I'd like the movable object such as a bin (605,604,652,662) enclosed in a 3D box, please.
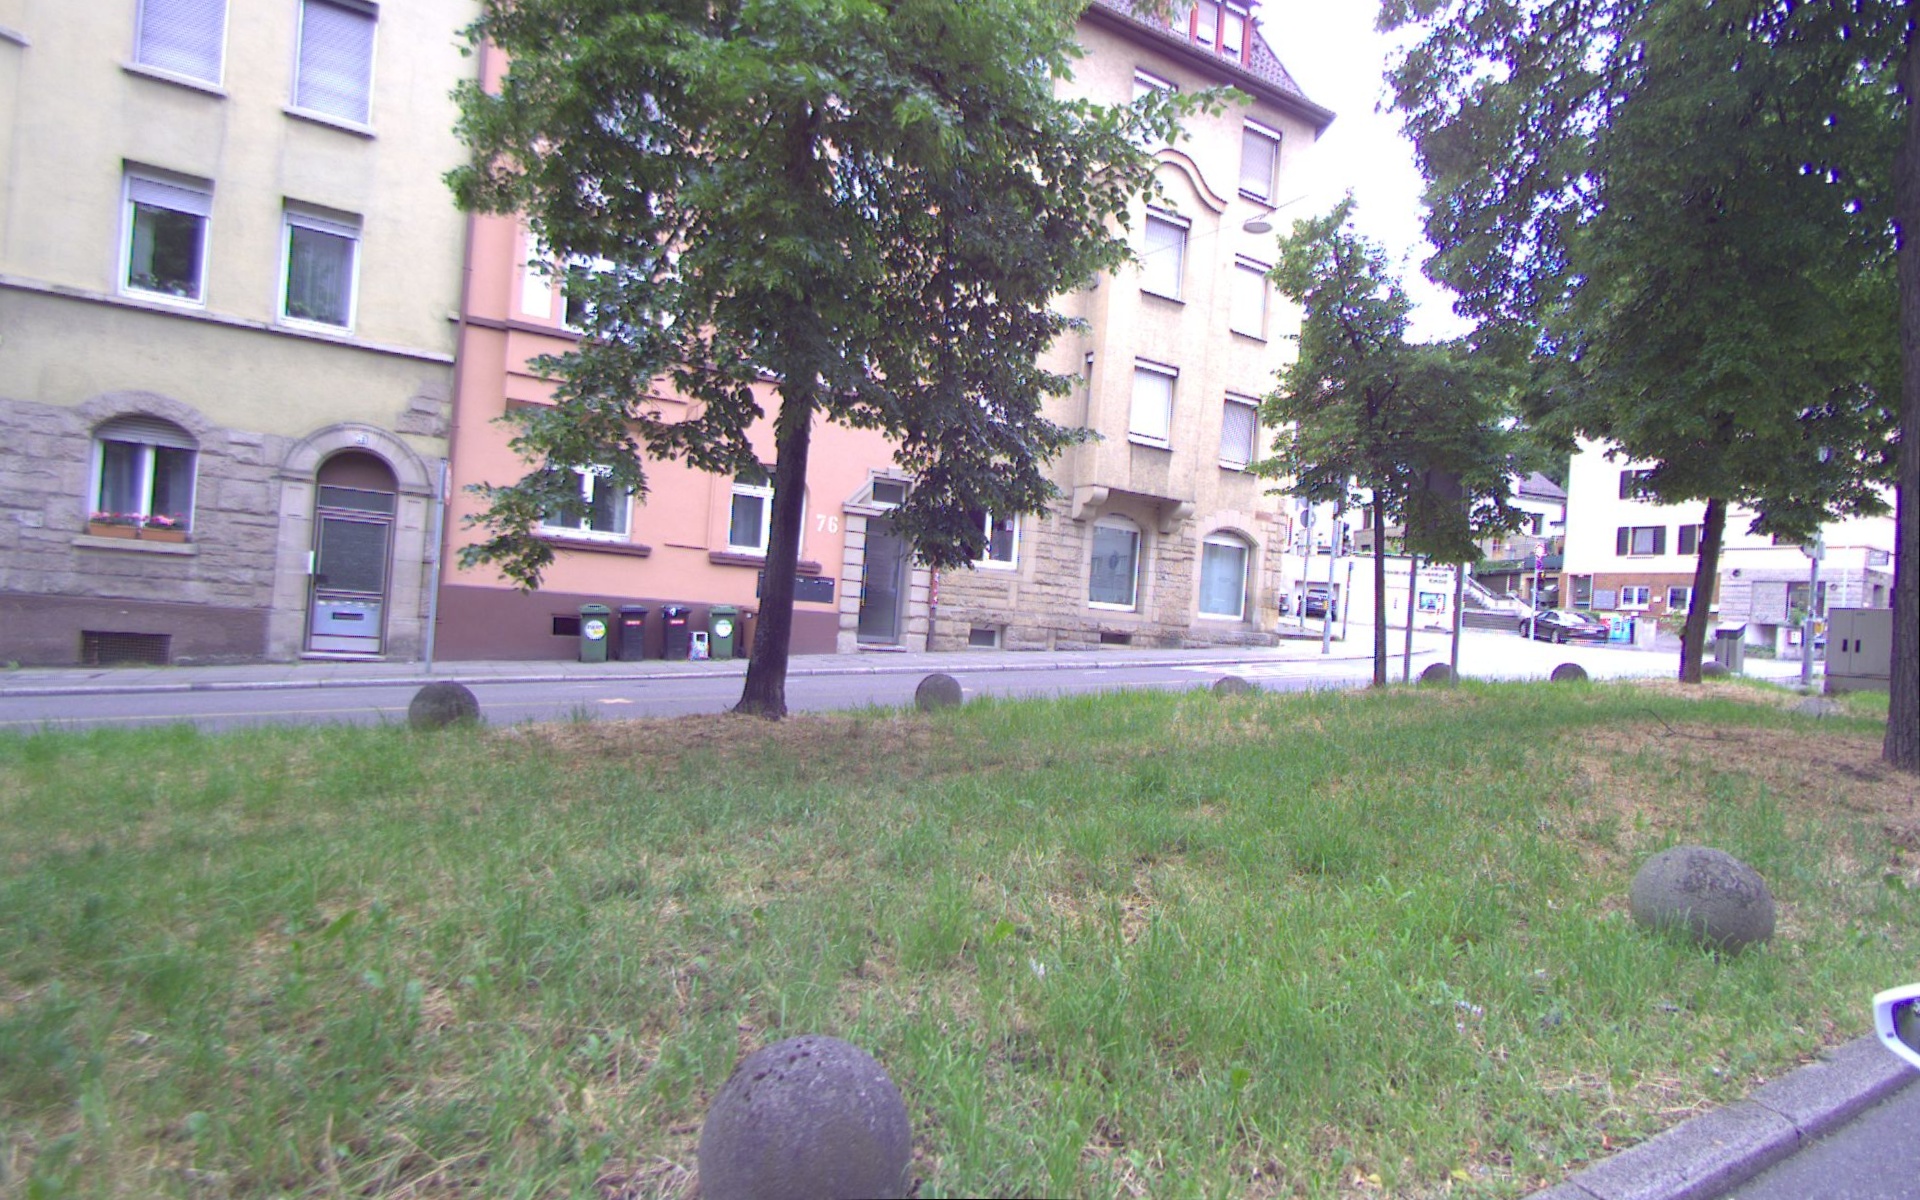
[{"bbox_3d":[-5.532,0.538,16.775,0.595,0.916,0.605,1,2,-33],"label":"movable object such as a bin"}]

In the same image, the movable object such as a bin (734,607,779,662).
[{"bbox_3d":[-3.621,0.605,17.868,0.595,0.916,0.605,1,2,-33],"label":"movable object such as a bin"}]

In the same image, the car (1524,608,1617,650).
[{"bbox_3d":[27.206,1.264,44.930,1.845,1.687,4.002,3,0,4],"label":"car"}]

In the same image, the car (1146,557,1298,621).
[{"bbox_3d":[9.787,-0.448,37.775,5.103,2.092,1.987,4,2,38],"label":"car"}]

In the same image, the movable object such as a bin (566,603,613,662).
[{"bbox_3d":[-6.071,0.529,16.454,0.595,0.916,0.605,1,2,-33],"label":"movable object such as a bin"}]

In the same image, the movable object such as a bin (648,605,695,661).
[{"bbox_3d":[-4.924,0.559,17.147,0.595,0.916,0.605,1,2,-33],"label":"movable object such as a bin"}]

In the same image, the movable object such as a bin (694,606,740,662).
[{"bbox_3d":[-4.241,0.584,17.526,0.595,0.916,0.605,1,2,-33],"label":"movable object such as a bin"}]

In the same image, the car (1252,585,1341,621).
[{"bbox_3d":[16.038,0.130,47.987,3.920,1.530,1.800,2,1,17],"label":"car"}]
